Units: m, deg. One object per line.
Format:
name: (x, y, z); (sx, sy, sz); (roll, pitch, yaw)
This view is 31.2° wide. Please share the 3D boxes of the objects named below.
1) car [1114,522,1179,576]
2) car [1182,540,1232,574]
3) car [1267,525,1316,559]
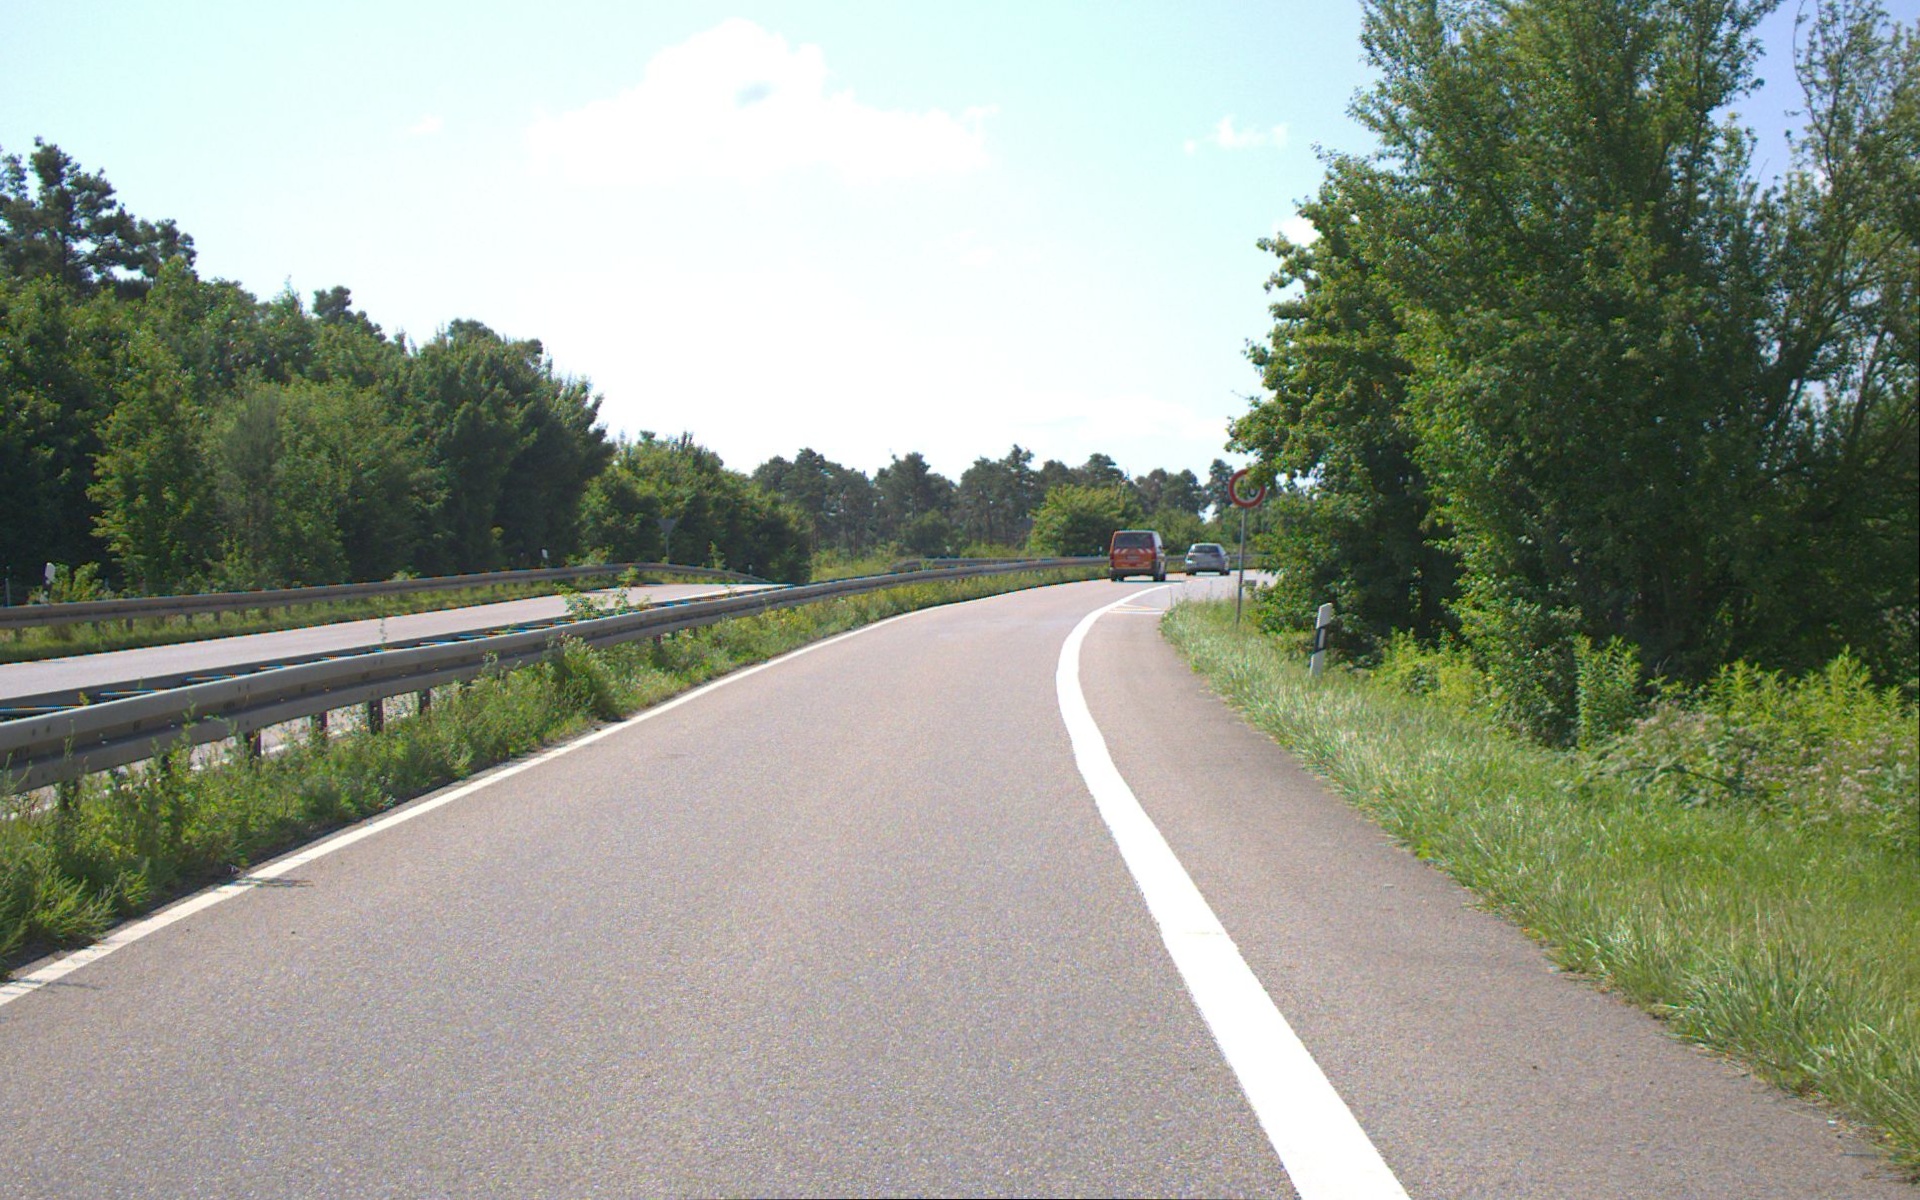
car: (7.205, -1.949, 132.555); (2.078, 1.986, 5.110); (1, 0, 8)
car: (11.264, -1.948, 156.515); (2.008, 1.489, 4.237); (1, 0, 8)
car: (20.037, -3.498, 207.523); (2.186, 1.948, 5.800); (1, 0, 13)
